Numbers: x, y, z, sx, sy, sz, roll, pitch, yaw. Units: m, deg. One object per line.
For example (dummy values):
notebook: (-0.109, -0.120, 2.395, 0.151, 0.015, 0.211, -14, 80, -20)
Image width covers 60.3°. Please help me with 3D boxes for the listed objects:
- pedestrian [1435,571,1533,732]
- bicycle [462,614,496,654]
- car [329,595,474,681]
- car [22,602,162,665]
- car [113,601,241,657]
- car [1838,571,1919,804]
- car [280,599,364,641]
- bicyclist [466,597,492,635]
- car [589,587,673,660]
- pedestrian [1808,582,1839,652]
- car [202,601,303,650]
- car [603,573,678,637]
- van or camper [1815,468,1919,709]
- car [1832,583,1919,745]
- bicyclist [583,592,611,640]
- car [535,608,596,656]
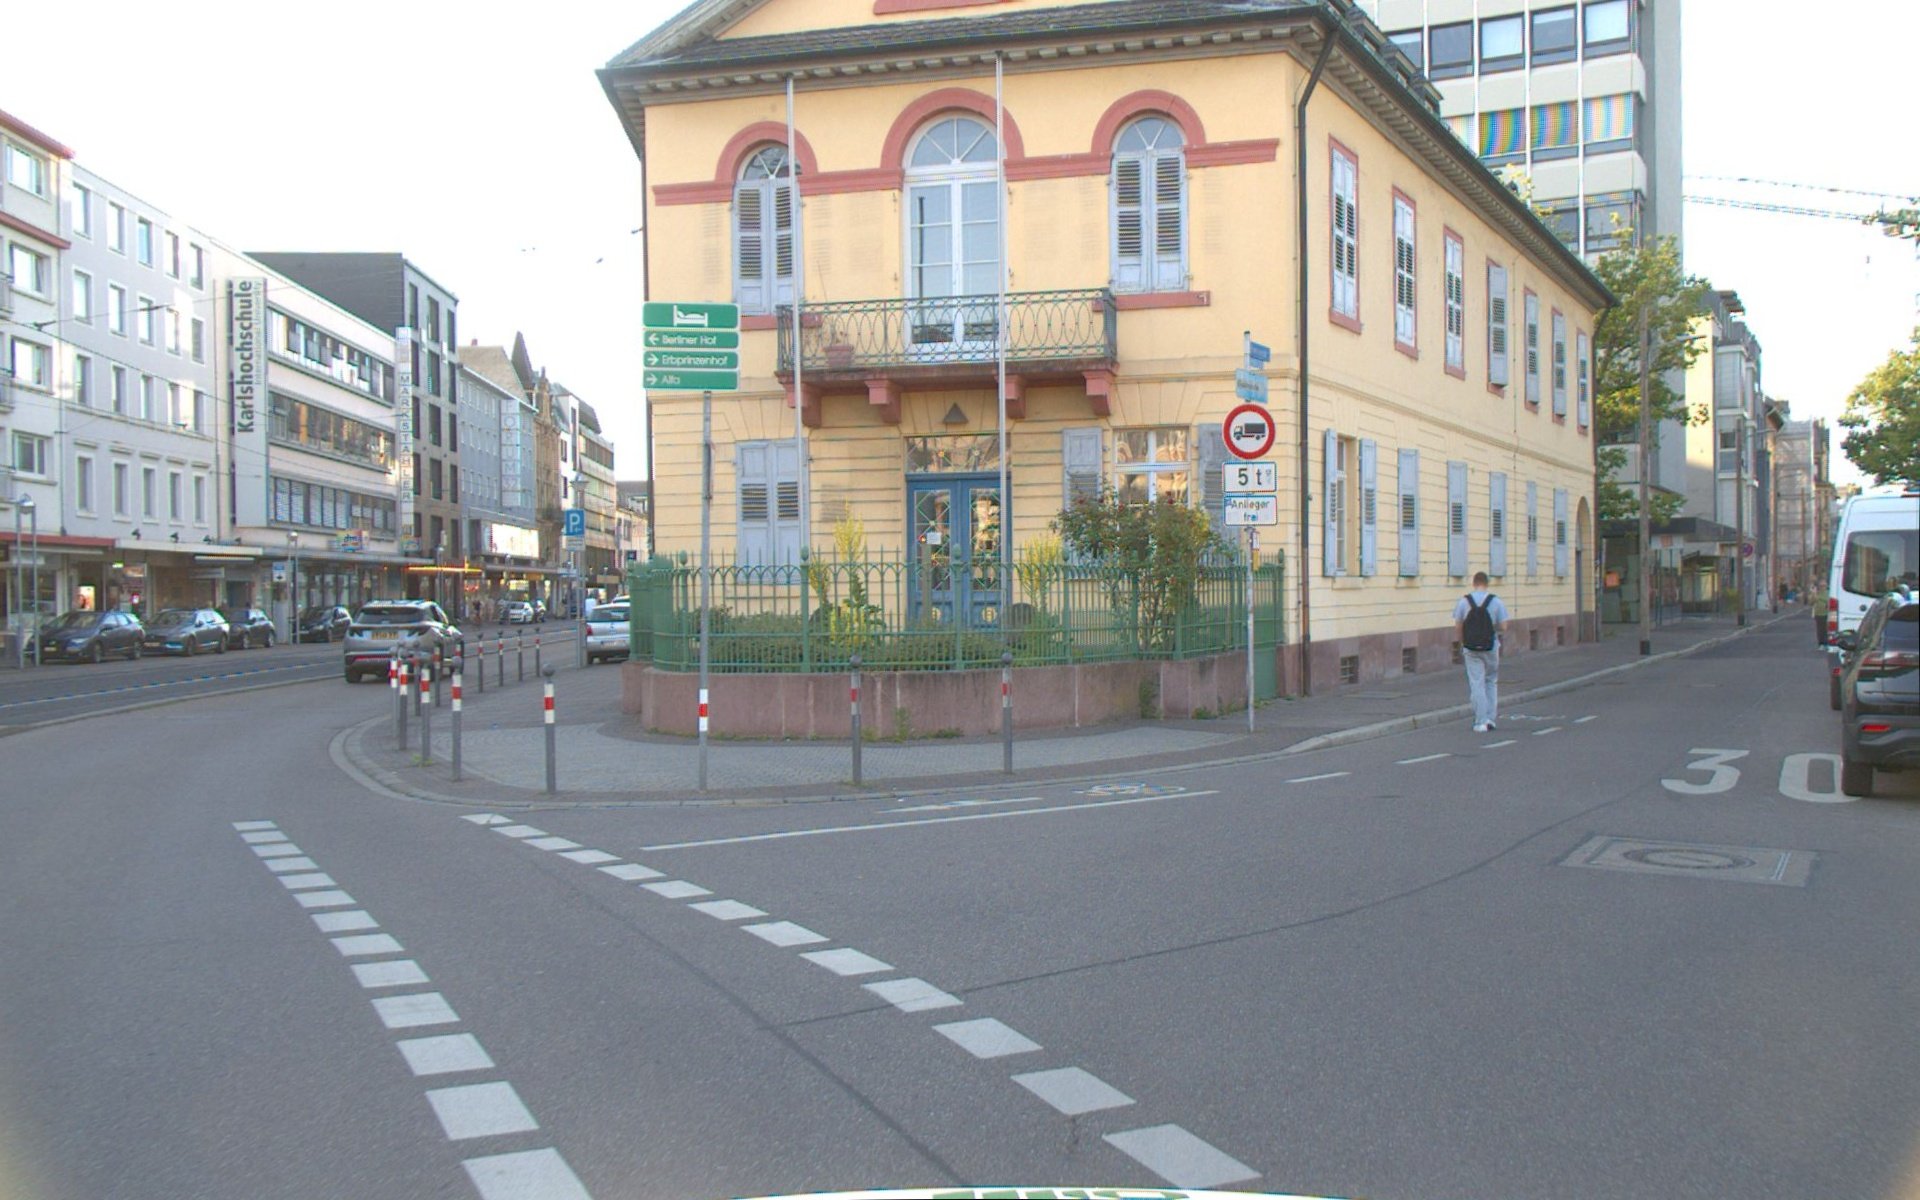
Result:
pedestrian: (5.901, 0.559, 18.617, 0.861, 1.754, 0.827, 0, 0, 34)
bicycle: (-25.860, 1.796, 89.053, 1.157, 2.049, 3.337, -1, 0, -6)
car: (-11.630, 0.751, 34.756, 1.905, 1.690, 4.530, 0, 0, -6)
car: (-24.922, 0.921, 47.662, 1.953, 1.695, 3.999, -1, 0, -1)
car: (-25.262, 0.893, 53.555, 1.953, 1.694, 4.638, -1, 0, -1)
car: (7.818, 0.561, 12.842, 1.744, 1.570, 4.285, -1, 0, 28)
car: (-26.578, 0.812, 69.026, 1.953, 1.695, 3.999, -1, 0, -1)
bicyclist: (-25.859, 0.850, 88.961, 1.144, 2.049, 1.044, -1, 0, -7)
car: (-8.214, 0.559, 41.540, 1.698, 1.738, 3.435, -1, 0, -6)
pedestrian: (20.682, 0.404, 39.614, 0.602, 1.657, 0.816, 0, 0, 33)
car: (-25.651, 0.893, 60.096, 1.953, 1.695, 3.999, -1, 0, -1)
car: (-9.070, 0.135, 47.176, 1.698, 1.738, 3.801, -1, 0, -6)
van or camper: (12.844, -0.162, 22.136, 2.039, 2.823, 6.435, -1, 0, 31)
car: (9.996, 0.567, 16.987, 1.696, 1.454, 4.466, 0, 1, 30)
bicyclist: (-12.325, 0.529, 56.162, 0.813, 1.596, 0.786, -1, 0, -6)
car: (-15.800, 1.256, 66.353, 1.773, 1.840, 3.996, -1, 0, -5)
